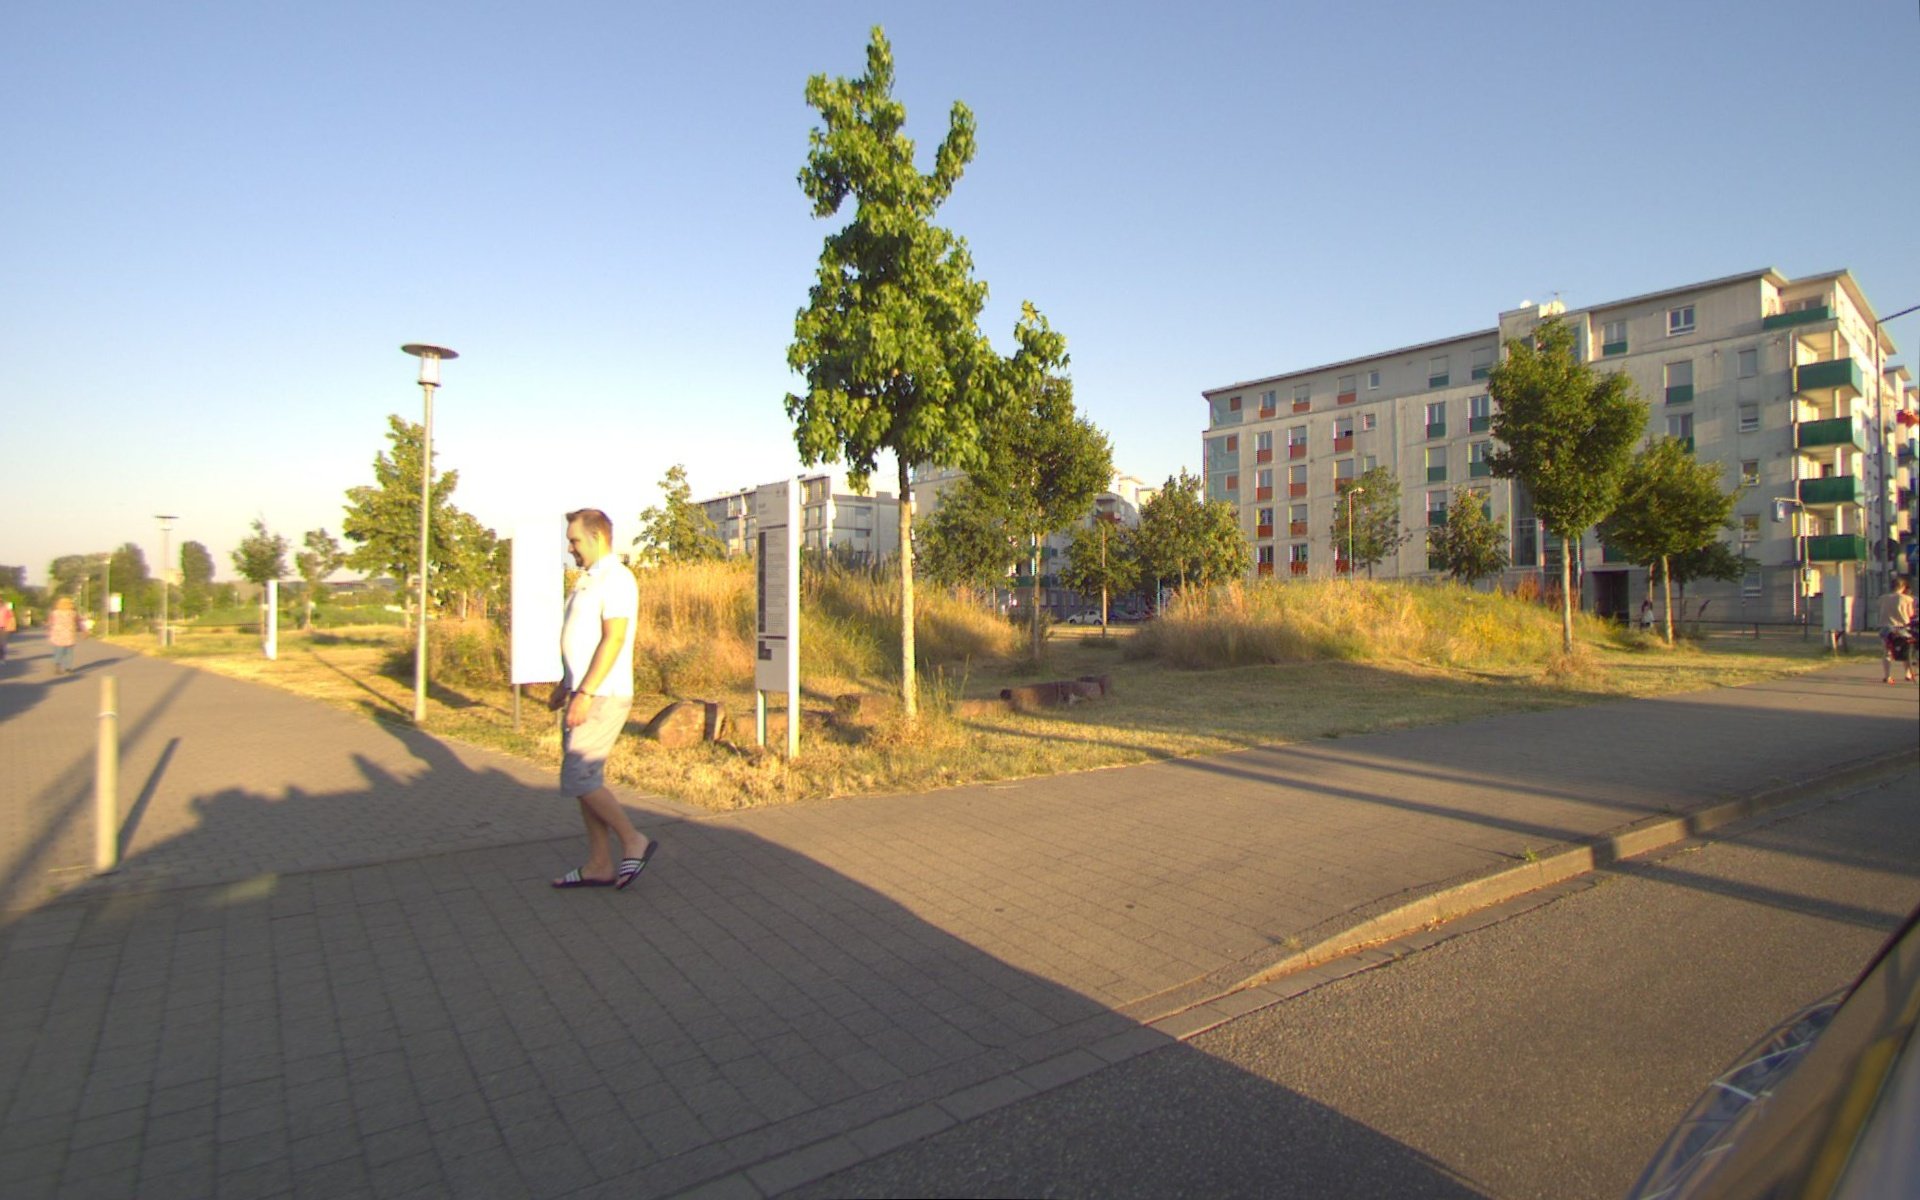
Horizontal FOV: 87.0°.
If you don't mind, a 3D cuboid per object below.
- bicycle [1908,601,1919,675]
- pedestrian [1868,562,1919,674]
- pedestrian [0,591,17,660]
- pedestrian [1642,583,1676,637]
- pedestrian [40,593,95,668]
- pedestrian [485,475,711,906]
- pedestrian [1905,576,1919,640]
[{"bbox_3d":[16.037,0.612,16.553,1.905,1.184,0.451,1,-2,-37],"label":"bicycle"},{"bbox_3d":[15.762,0.305,16.982,0.802,1.825,0.596,1,-2,-36],"label":"pedestrian"},{"bbox_3d":[-22.499,0.586,23.543,0.707,1.579,0.754,-1,-2,44],"label":"pedestrian"},{"bbox_3d":[23.685,0.330,34.294,0.788,1.807,0.733,1,-2,-40],"label":"pedestrian"},{"bbox_3d":[-17.951,0.609,20.358,0.707,1.478,0.754,-1,-2,44],"label":"pedestrian"},{"bbox_3d":[-1.711,0.354,4.763,0.802,1.788,0.834,-1,2,-36],"label":"pedestrian"},{"bbox_3d":[26.552,0.225,27.715,0.752,1.752,0.802,1,-2,-34],"label":"pedestrian"}]
